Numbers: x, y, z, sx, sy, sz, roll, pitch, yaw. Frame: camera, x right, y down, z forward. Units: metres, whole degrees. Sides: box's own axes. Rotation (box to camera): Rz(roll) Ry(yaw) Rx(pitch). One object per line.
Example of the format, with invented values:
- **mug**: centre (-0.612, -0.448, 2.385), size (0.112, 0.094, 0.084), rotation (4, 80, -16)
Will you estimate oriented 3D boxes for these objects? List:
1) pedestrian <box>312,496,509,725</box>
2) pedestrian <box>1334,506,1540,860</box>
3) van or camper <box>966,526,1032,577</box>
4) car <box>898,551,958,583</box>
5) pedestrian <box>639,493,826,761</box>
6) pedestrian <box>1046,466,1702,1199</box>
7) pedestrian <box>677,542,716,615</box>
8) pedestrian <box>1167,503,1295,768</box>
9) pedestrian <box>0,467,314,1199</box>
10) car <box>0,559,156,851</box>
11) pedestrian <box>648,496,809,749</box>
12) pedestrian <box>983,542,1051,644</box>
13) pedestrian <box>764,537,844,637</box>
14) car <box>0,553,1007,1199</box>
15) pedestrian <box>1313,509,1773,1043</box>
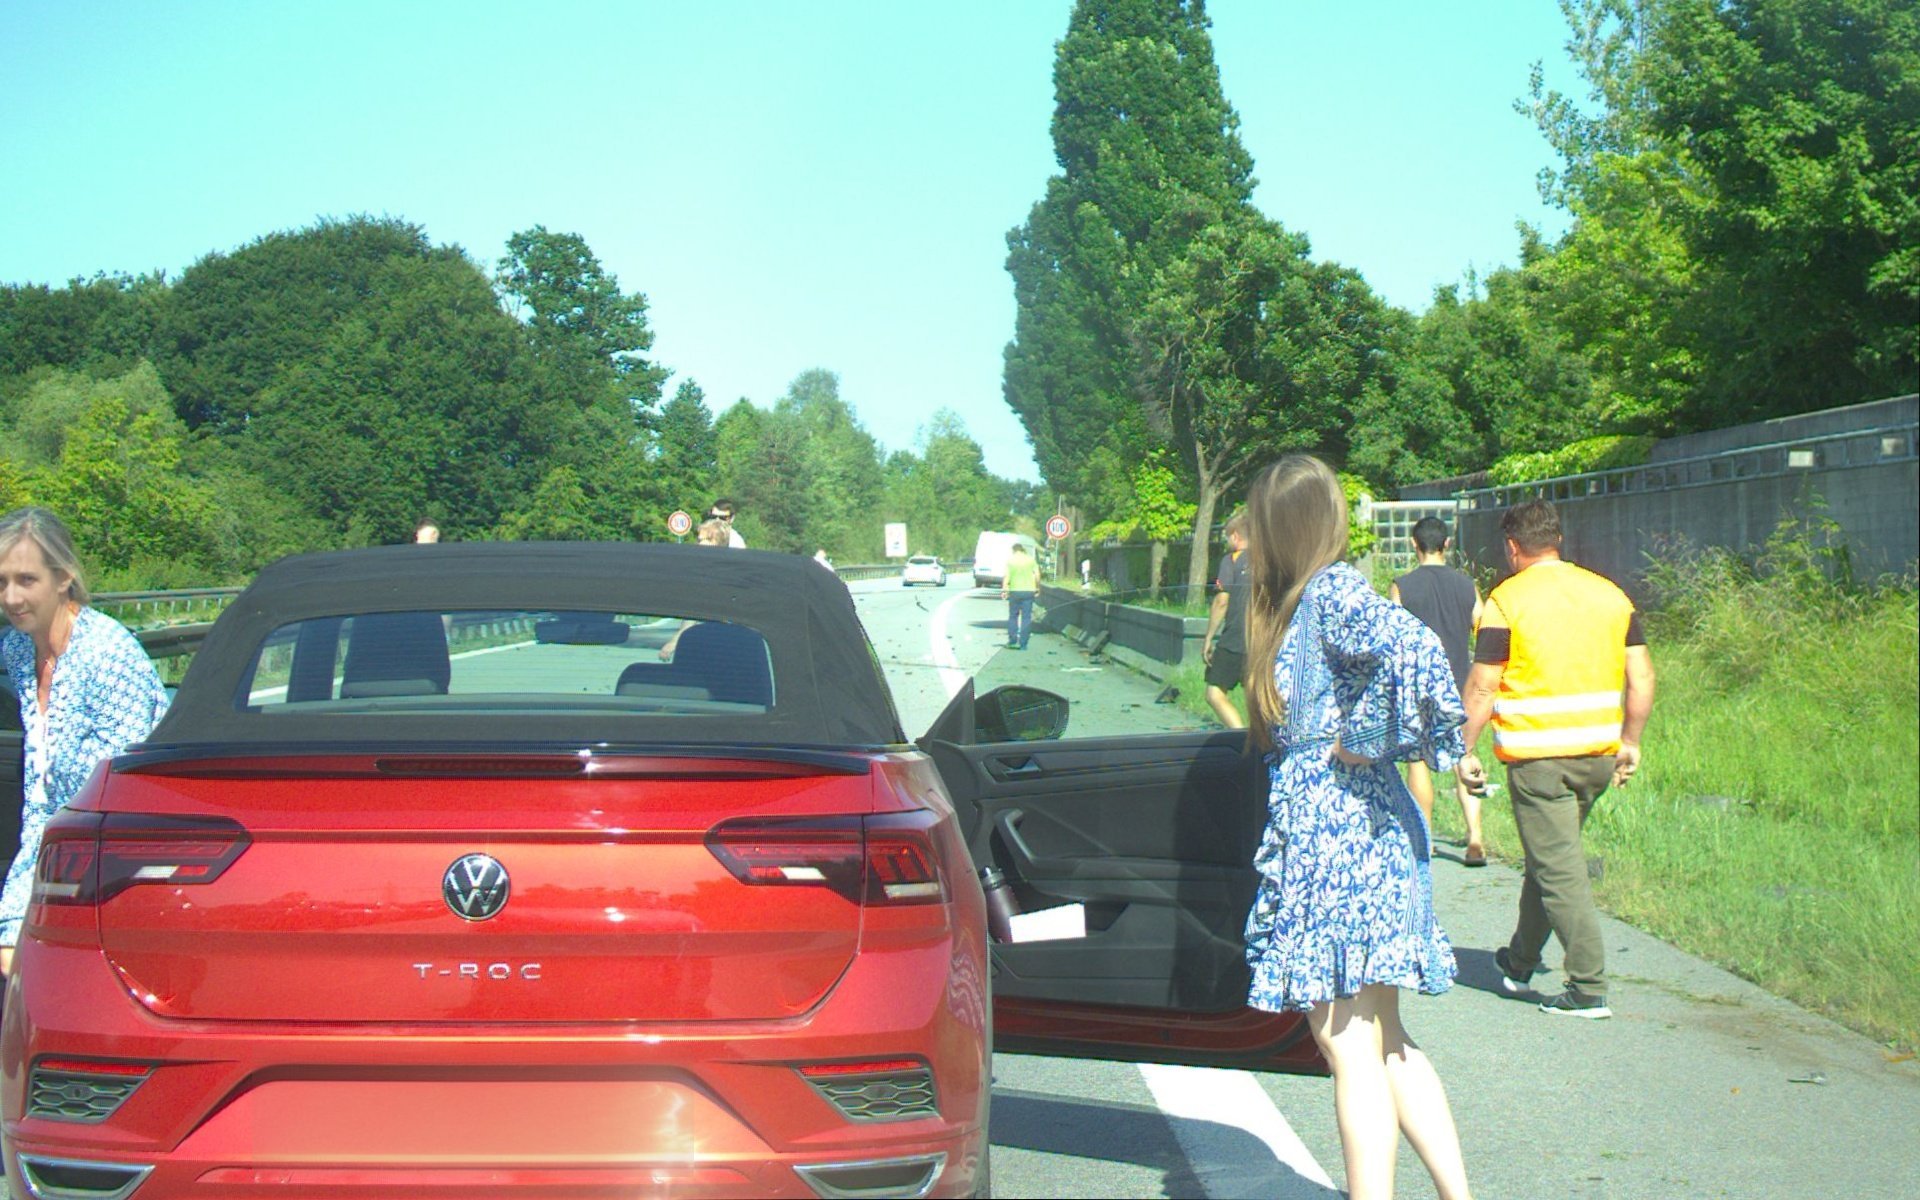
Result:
- **pedestrian**: centre (-4.397, 0.076, 27.513), size (1.107, 1.782, 1.089), rotation (1, 0, 41)
- **pedestrian**: centre (2.371, 0.401, 17.170), size (0.894, 1.719, 0.754), rotation (1, 0, 0)
- **van or camper**: centre (1.823, -2.244, 159.942), size (1.995, 2.308, 4.467), rotation (1, 0, 15)
- **car**: centre (-1.497, -1.561, 161.059), size (1.733, 1.482, 4.207), rotation (1, 1, 15)
- **pedestrian**: centre (-1.625, 0.184, 24.710), size (1.066, 1.876, 1.093), rotation (-1, 1, 12)
- **pedestrian**: centre (0.807, 0.591, 6.980), size (1.124, 1.689, 0.893), rotation (-1, 1, -7)
- **pedestrian**: centre (-6.183, -0.503, 80.756), size (0.791, 1.683, 0.792), rotation (1, 0, 3)
- **pedestrian**: centre (1.844, 0.235, 23.337), size (0.812, 1.753, 0.828), rotation (1, 0, 7)
- **pedestrian**: centre (-1.971, 0.567, 7.390), size (0.840, 1.677, 0.742), rotation (-1, 1, 28)
- **car**: centre (-5.637, 0.499, 18.569), size (1.694, 1.421, 4.334), rotation (1, 1, -2)
- **pedestrian**: centre (-1.815, 0.162, 26.803), size (1.105, 1.906, 1.257), rotation (-1, 1, -9)
- **pedestrian**: centre (0.964, -0.116, 57.590), size (1.056, 1.683, 1.017), rotation (1, 0, 5)
- **pedestrian**: centre (-2.674, -0.229, 59.194), size (1.114, 1.683, 0.972), rotation (1, 0, 15)
- **car**: centre (-0.864, 0.648, 7.692), size (1.732, 1.482, 4.211), rotation (1, 1, -2)
- **pedestrian**: centre (1.915, 0.537, 11.450), size (0.957, 1.648, 1.278), rotation (-1, 1, -22)
